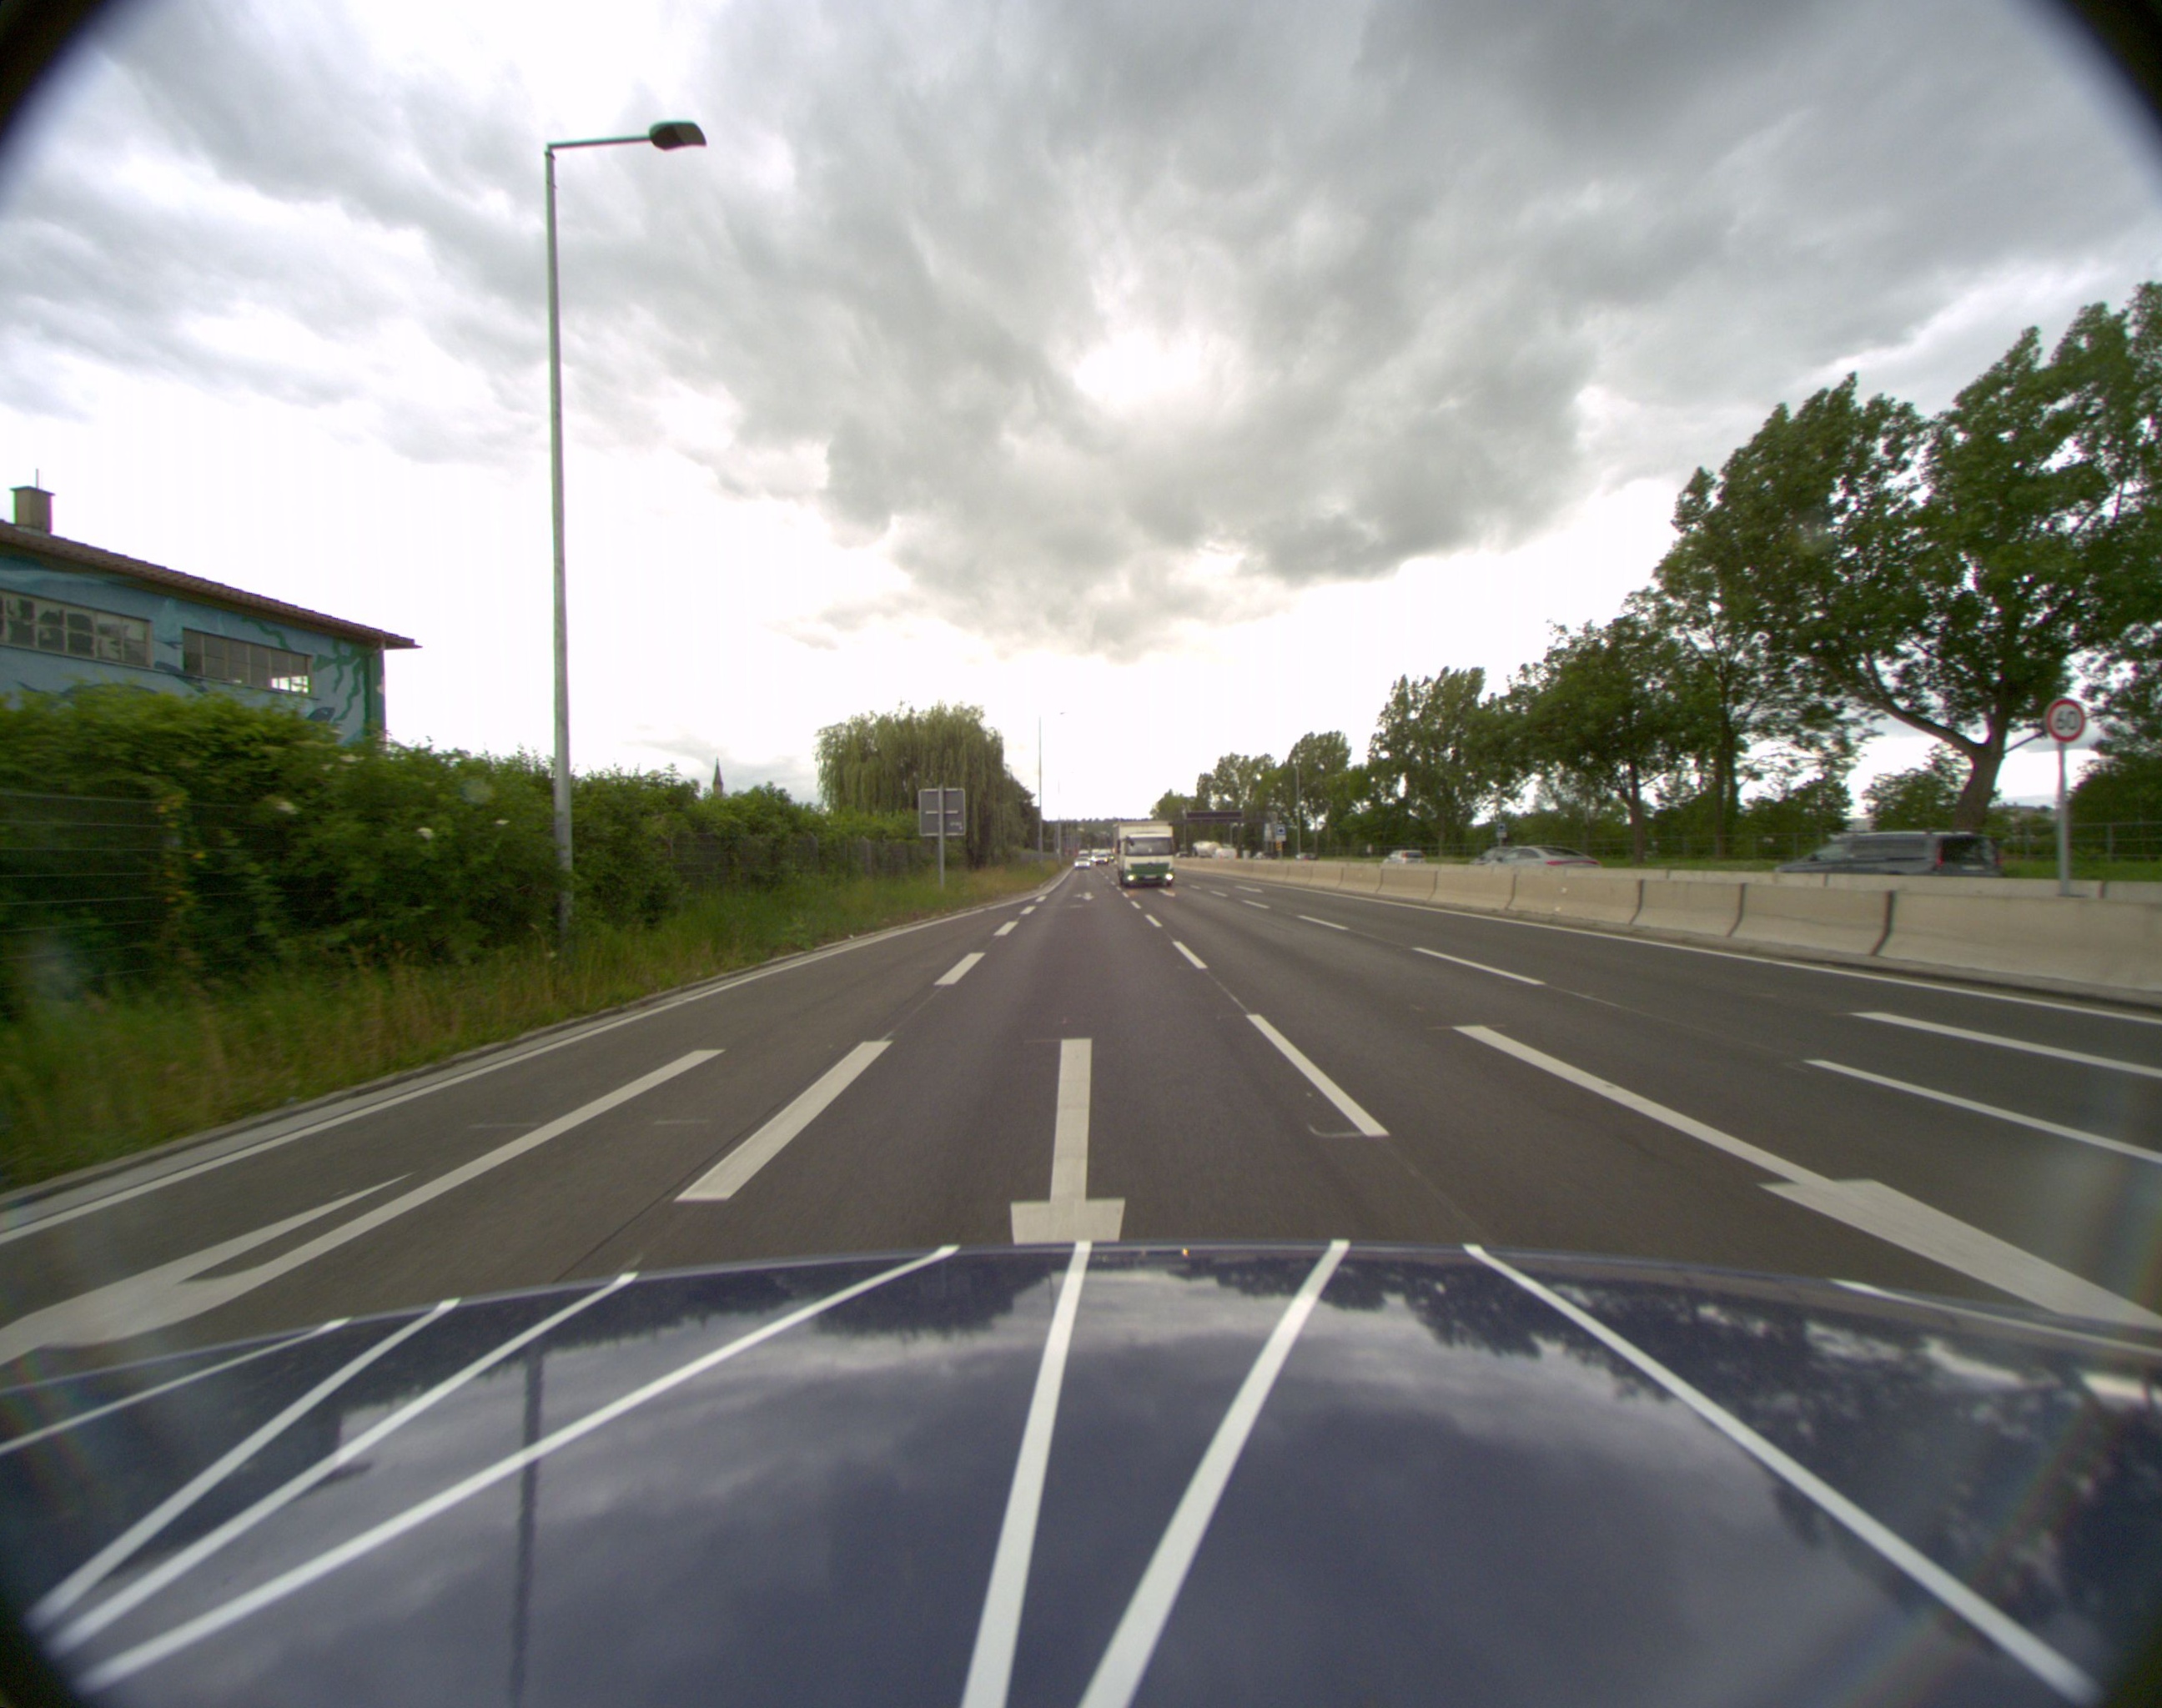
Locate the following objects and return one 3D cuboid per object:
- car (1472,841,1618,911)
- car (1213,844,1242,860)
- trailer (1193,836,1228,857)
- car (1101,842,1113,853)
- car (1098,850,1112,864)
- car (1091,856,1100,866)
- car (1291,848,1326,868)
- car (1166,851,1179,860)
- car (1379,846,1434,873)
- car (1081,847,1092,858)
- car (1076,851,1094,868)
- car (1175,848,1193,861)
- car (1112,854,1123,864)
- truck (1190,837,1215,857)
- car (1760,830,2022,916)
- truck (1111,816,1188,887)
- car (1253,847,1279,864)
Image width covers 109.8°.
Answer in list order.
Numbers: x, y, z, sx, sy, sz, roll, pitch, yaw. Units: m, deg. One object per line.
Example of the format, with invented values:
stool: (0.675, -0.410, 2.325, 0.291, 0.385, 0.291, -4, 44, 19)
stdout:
car: (15.348, 0.678, 25.500, 1.998, 2.002, 4.681, -3, 0, 1)
car: (15.609, -0.170, 81.266, 1.999, 1.550, 4.885, -3, 0, -1)
trailer: (20.796, -1.139, 122.944, 3.109, 3.201, 11.666, -3, 0, -2)
car: (5.012, -1.286, 145.544, 1.998, 2.002, 4.000, -3, 0, 0)
car: (3.608, 0.413, 115.052, 1.998, 2.002, 4.000, -3, 0, 0)
car: (3.232, 1.571, 169.854, 1.998, 2.002, 4.000, -3, 0, 1)
car: (21.829, 0.371, 73.055, 1.998, 1.728, 4.470, -3, 0, 1)
car: (17.433, 0.235, 145.218, 1.998, 1.608, 4.697, -3, 0, 1)
car: (21.779, 0.362, 50.999, 1.882, 1.673, 4.122, -3, 0, 0)
car: (0.994, -0.342, 148.129, 1.998, 2.002, 4.000, -3, 0, 0)
car: (0.459, 0.634, 91.087, 1.998, 1.849, 4.000, -3, 0, 0)
car: (14.646, 0.083, 108.109, 1.998, 1.728, 4.000, -3, 0, 1)
car: (7.734, 1.046, 160.375, 1.998, 2.002, 4.000, -3, 0, 1)
truck: (20.638, -1.127, 129.098, 3.106, 3.200, 5.390, -3, 0, -1)
car: (22.229, 0.477, 21.245, 1.998, 2.002, 4.936, -3, 0, 1)
truck: (3.276, -0.100, 38.504, 2.943, 3.064, 8.386, -3, 0, 0)
car: (21.050, 0.189, 86.597, 1.998, 1.728, 4.304, -3, 0, 1)
